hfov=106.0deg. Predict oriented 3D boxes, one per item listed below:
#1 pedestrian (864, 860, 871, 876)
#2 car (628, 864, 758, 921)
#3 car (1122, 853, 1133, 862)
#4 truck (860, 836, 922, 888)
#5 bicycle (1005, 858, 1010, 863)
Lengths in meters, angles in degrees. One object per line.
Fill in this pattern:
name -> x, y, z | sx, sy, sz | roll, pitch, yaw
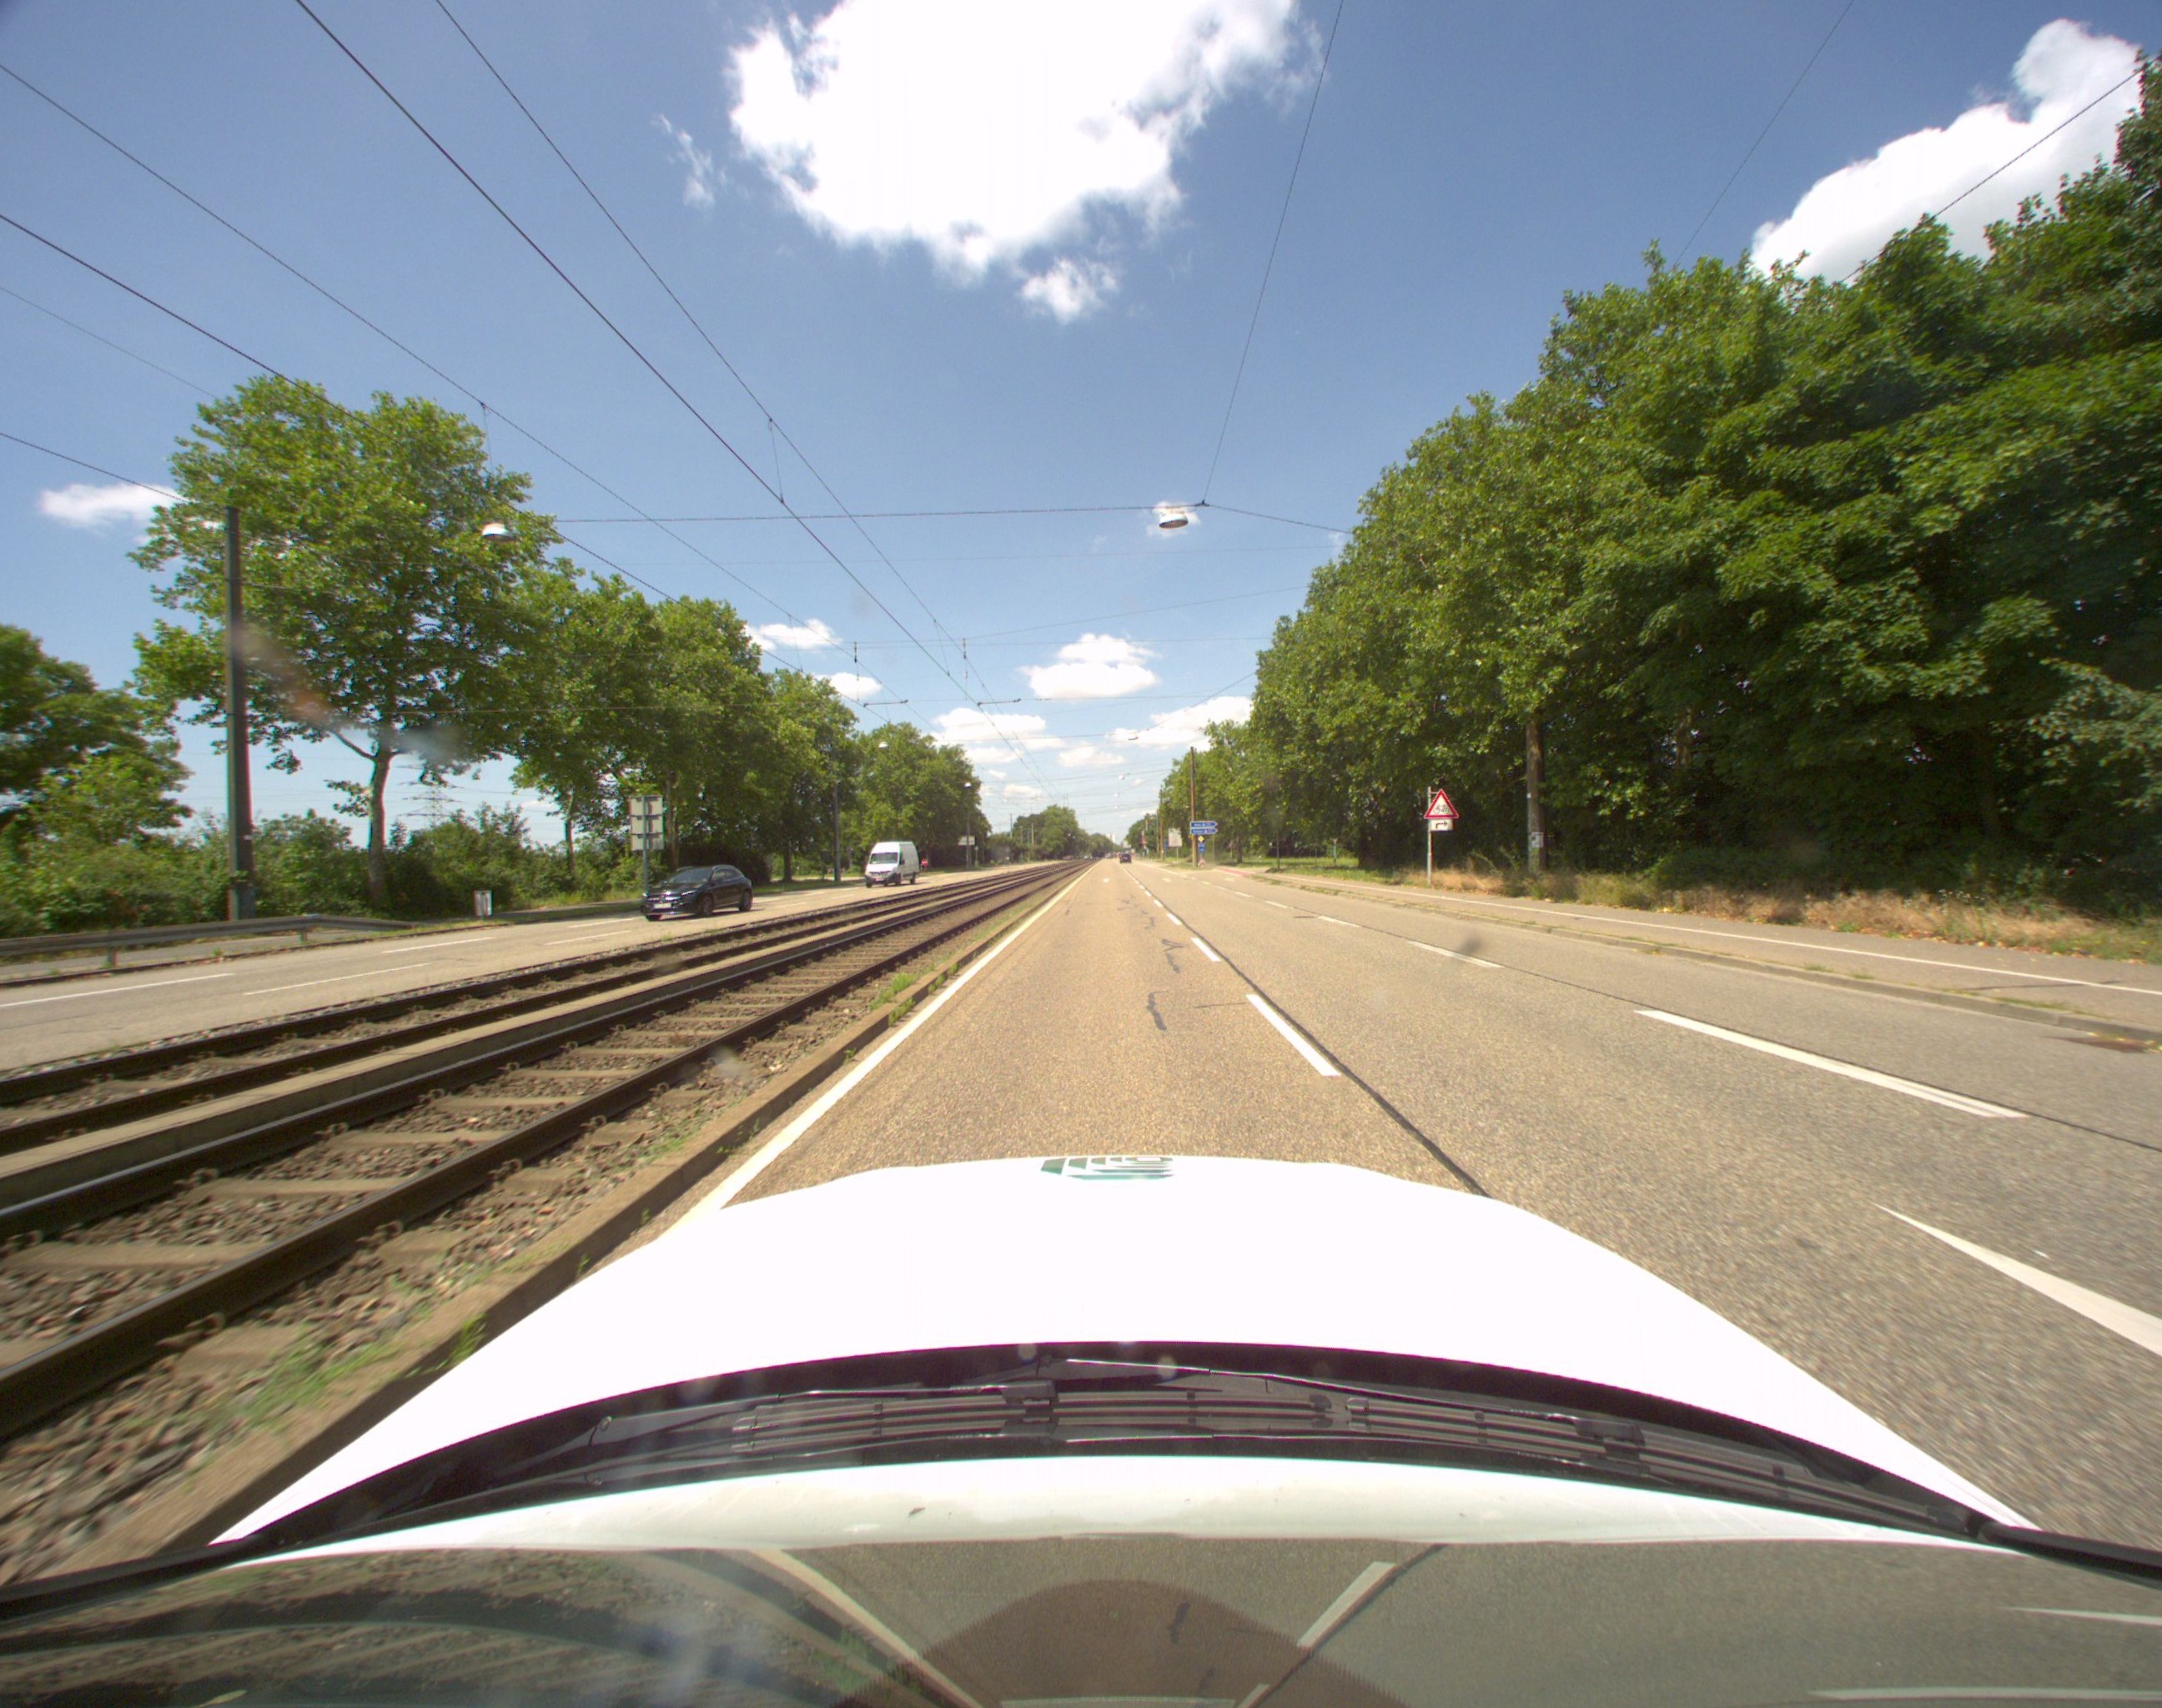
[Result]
pedestrian -> -21.104, 1.386, 80.536 | 0.512, 1.551, 0.703 | -3, 0, -4
car -> -12.091, 1.139, 25.763 | 1.811, 1.514, 4.430 | -2, 0, 2
car -> 7.222, 0.576, 127.426 | 1.580, 1.343, 3.272 | -2, 1, 0
truck -> -11.772, 0.457, 50.944 | 2.046, 2.939, 6.322 | -3, 0, 2
bicycle -> -14.434, 1.275, 159.579 | 0.513, 0.857, 1.934 | -3, 0, 5
